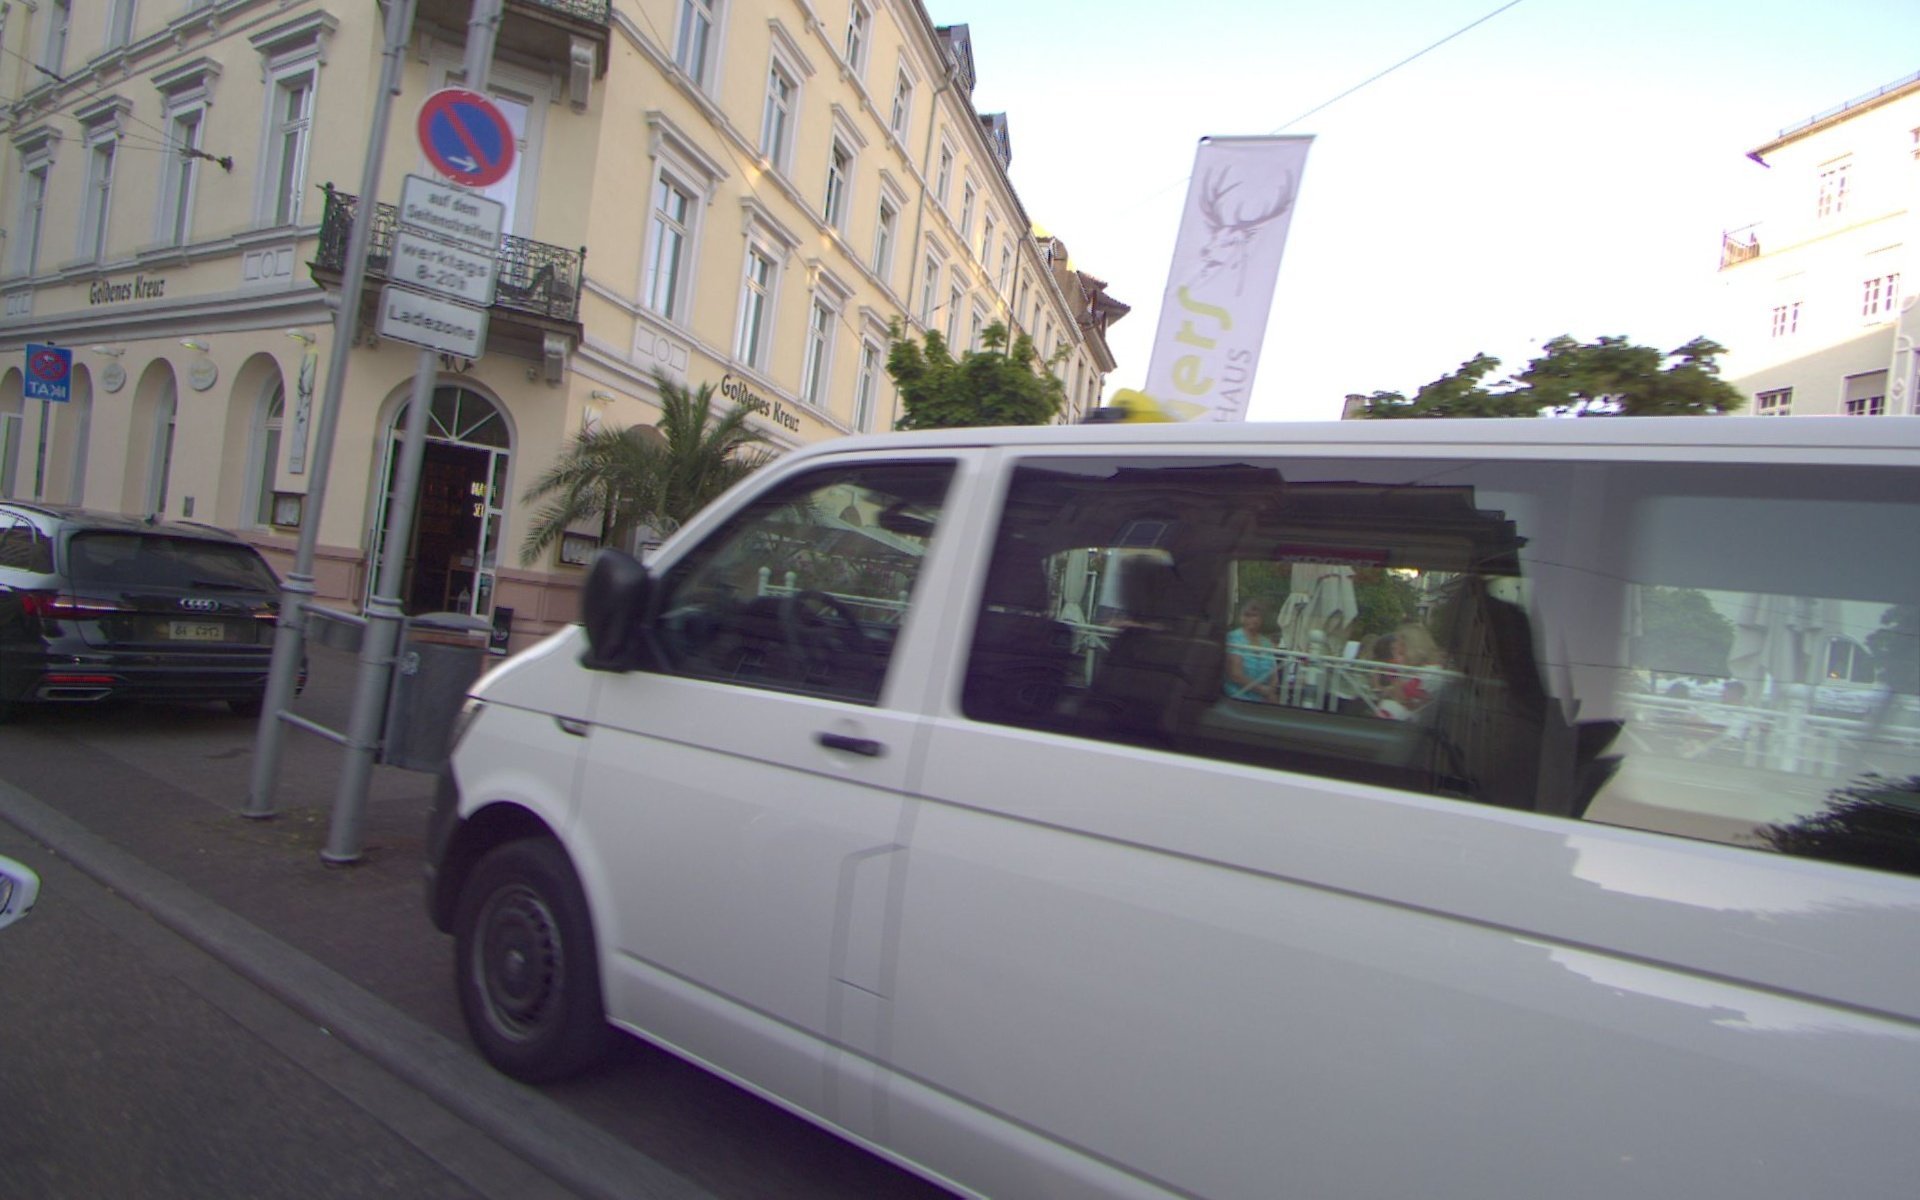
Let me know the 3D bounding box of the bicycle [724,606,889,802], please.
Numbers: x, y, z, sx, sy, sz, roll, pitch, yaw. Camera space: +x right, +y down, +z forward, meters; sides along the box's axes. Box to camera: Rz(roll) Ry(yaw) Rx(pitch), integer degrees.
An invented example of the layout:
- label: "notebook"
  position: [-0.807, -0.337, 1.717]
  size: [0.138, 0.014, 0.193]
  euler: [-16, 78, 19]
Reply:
- label: "bicycle"
  position: [-1.287, 0.830, 8.342]
  size: [1.269, 1.407, 0.344]
  euler: [7, 0, 32]

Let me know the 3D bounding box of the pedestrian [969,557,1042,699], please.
- label: "pedestrian"
  position: [0.556, 0.347, 12.198]
  size: [0.522, 1.628, 0.553]
  euler: [7, 0, 25]

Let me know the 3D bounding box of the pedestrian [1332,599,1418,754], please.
- label: "pedestrian"
  position: [4.923, 0.899, 11.929]
  size: [0.719, 1.712, 0.590]
  euler: [7, 0, 25]

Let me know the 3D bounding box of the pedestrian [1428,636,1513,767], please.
- label: "pedestrian"
  position: [5.363, 1.047, 10.584]
  size: [0.522, 1.282, 0.491]
  euler: [7, 0, 8]

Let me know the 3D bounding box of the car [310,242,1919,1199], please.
- label: "car"
  position: [0.622, 0.541, 2.712]
  size: [5.129, 2.092, 1.854]
  euler: [7, 0, 32]

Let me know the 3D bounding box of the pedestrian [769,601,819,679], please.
- label: "pedestrian"
  position: [-2.905, 0.705, 17.659]
  size: [0.481, 1.296, 0.596]
  euler: [7, 0, 19]

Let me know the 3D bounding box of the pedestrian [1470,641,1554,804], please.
- label: "pedestrian"
  position: [4.941, 1.079, 8.994]
  size: [0.482, 1.349, 0.531]
  euler: [7, 0, 32]

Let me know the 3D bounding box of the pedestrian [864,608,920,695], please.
- label: "pedestrian"
  position: [-1.123, 0.846, 16.611]
  size: [0.625, 1.344, 0.491]
  euler: [7, 0, 19]

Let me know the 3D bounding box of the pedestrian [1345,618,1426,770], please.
- label: "pedestrian"
  position: [4.045, 0.884, 9.559]
  size: [0.482, 1.349, 0.531]
  euler: [7, 0, 32]

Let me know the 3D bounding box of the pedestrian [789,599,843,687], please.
- label: "pedestrian"
  position: [-2.333, 0.700, 16.339]
  size: [0.481, 1.344, 0.596]
  euler: [7, 0, 19]

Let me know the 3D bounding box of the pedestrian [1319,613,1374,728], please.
- label: "pedestrian"
  position: [6.116, 1.114, 15.910]
  size: [0.580, 1.717, 0.532]
  euler: [7, 0, 25]

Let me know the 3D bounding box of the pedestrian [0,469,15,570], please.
- label: "pedestrian"
  position: [-16.678, -1.400, 17.098]
  size: [0.542, 1.713, 0.759]
  euler: [7, 4, 31]

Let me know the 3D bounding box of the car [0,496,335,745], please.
- label: "car"
  position: [-6.830, -0.027, 7.594]
  size: [4.472, 1.407, 1.698]
  euler: [6, 0, 32]

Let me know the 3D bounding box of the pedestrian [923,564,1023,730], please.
- label: "pedestrian"
  position: [0.116, 0.398, 8.458]
  size: [0.482, 1.312, 0.531]
  euler: [7, 0, 32]

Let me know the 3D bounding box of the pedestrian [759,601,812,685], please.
- label: "pedestrian"
  position: [-2.873, 0.713, 16.554]
  size: [0.481, 1.296, 0.596]
  euler: [7, 0, 19]

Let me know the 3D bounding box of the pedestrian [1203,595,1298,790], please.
- label: "pedestrian"
  position: [2.122, 0.662, 7.359]
  size: [0.481, 1.312, 0.532]
  euler: [7, 0, 17]

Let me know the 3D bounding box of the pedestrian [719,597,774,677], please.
- label: "pedestrian"
  position: [-3.522, 0.619, 16.611]
  size: [0.481, 1.232, 0.669]
  euler: [7, 0, 19]
